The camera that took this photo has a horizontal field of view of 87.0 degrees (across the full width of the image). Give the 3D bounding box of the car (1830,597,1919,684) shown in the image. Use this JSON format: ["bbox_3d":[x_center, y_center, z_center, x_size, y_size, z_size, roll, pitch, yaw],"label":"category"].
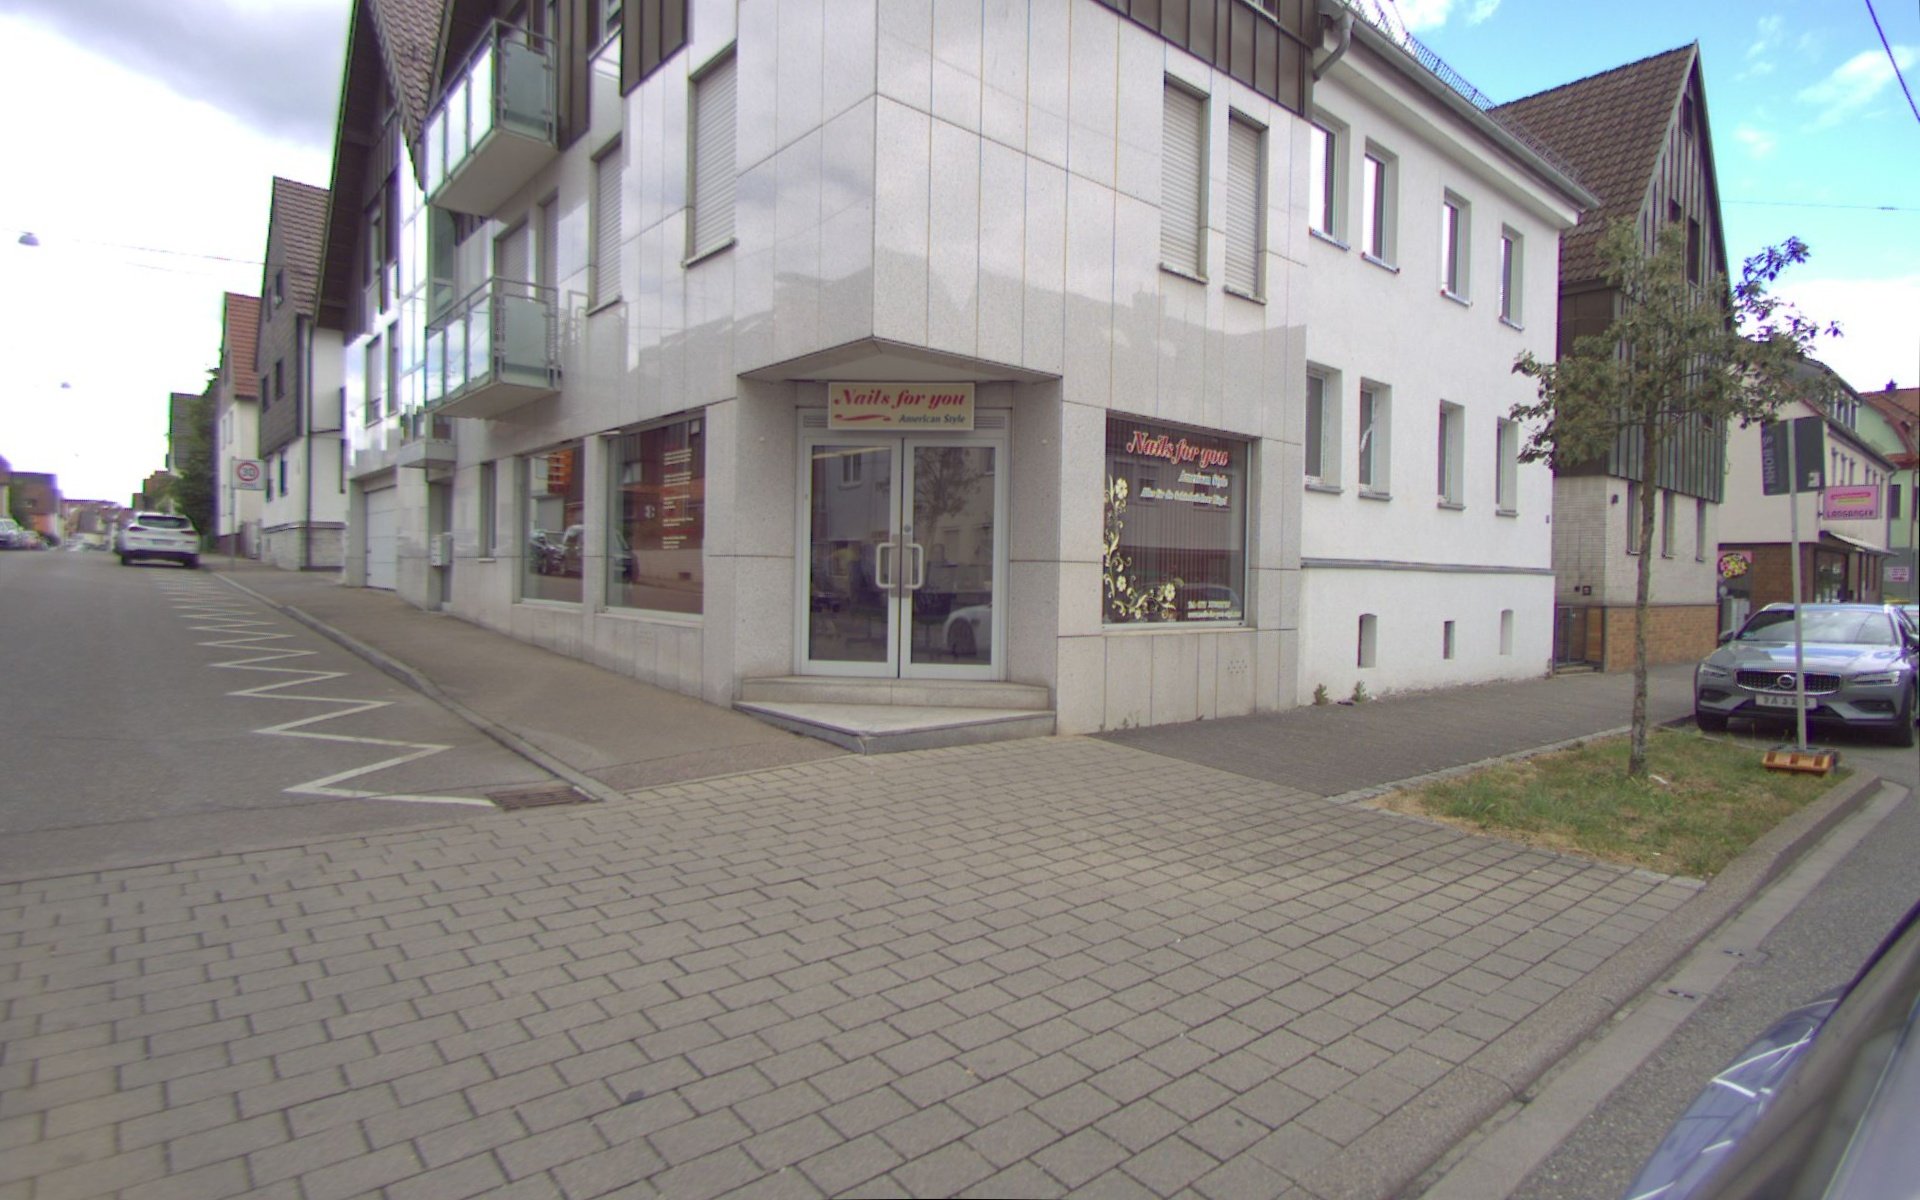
[{"bbox_3d":[18.066,0.698,19.169,3.923,1.516,1.834,0,0,-40],"label":"car"}]

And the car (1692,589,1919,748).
[{"bbox_3d":[10.463,0.657,12.093,4.434,1.559,1.879,0,1,-42],"label":"car"}]

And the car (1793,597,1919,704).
[{"bbox_3d":[14.476,0.685,15.656,4.377,1.464,1.758,0,0,-41],"label":"car"}]

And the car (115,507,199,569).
[{"bbox_3d":[-24.966,-1.855,31.418,1.932,1.726,4.035,0,1,-40],"label":"car"}]
